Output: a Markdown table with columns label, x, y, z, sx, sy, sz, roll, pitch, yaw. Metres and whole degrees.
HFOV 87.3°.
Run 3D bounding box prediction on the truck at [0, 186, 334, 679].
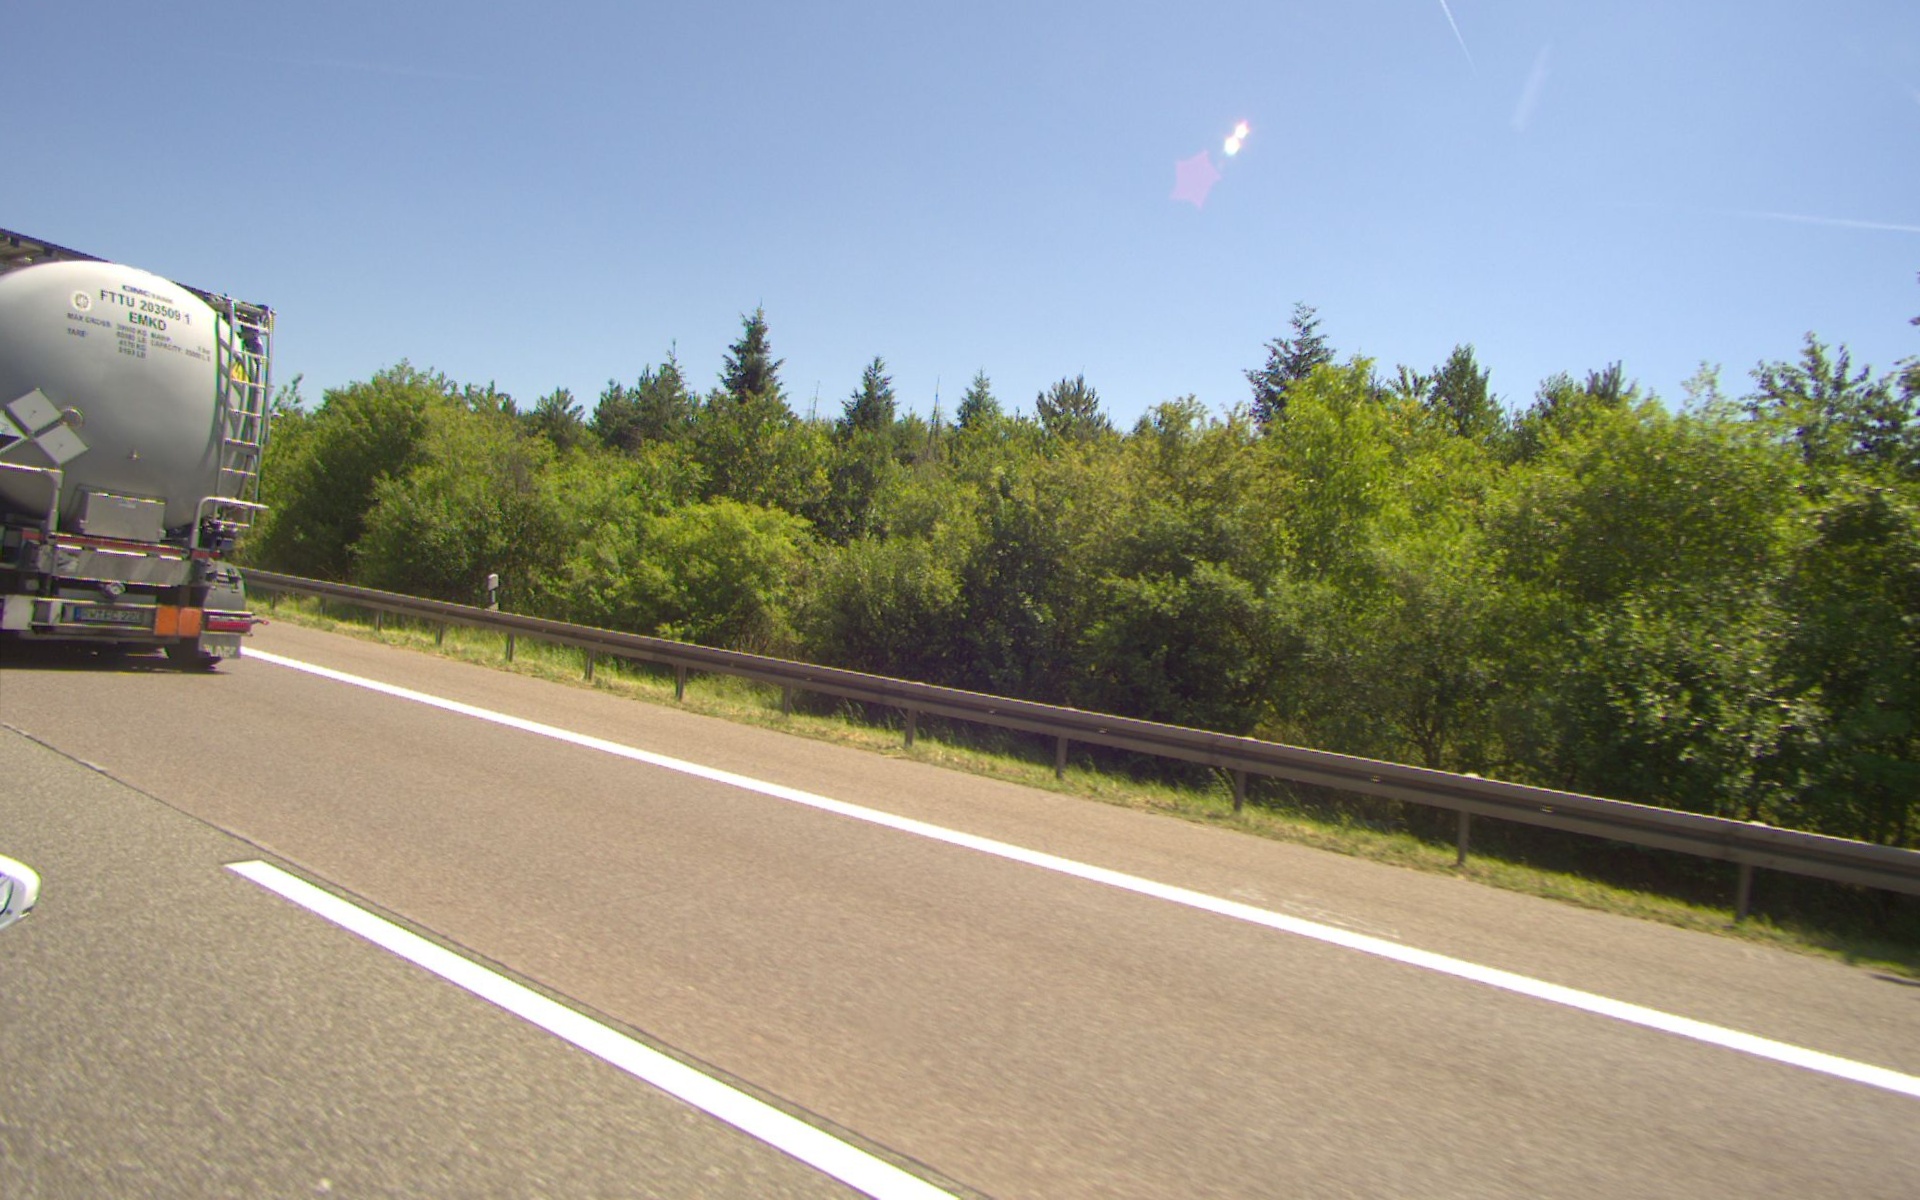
| label | x | y | z | sx | sy | sz | roll | pitch | yaw |
| --- | --- | --- | --- | --- | --- | --- | --- | --- | --- |
| truck | -13.237 | -1.931 | 13.040 | 13.134 | 4.093 | 2.804 | 6 | -2 | 32 |
